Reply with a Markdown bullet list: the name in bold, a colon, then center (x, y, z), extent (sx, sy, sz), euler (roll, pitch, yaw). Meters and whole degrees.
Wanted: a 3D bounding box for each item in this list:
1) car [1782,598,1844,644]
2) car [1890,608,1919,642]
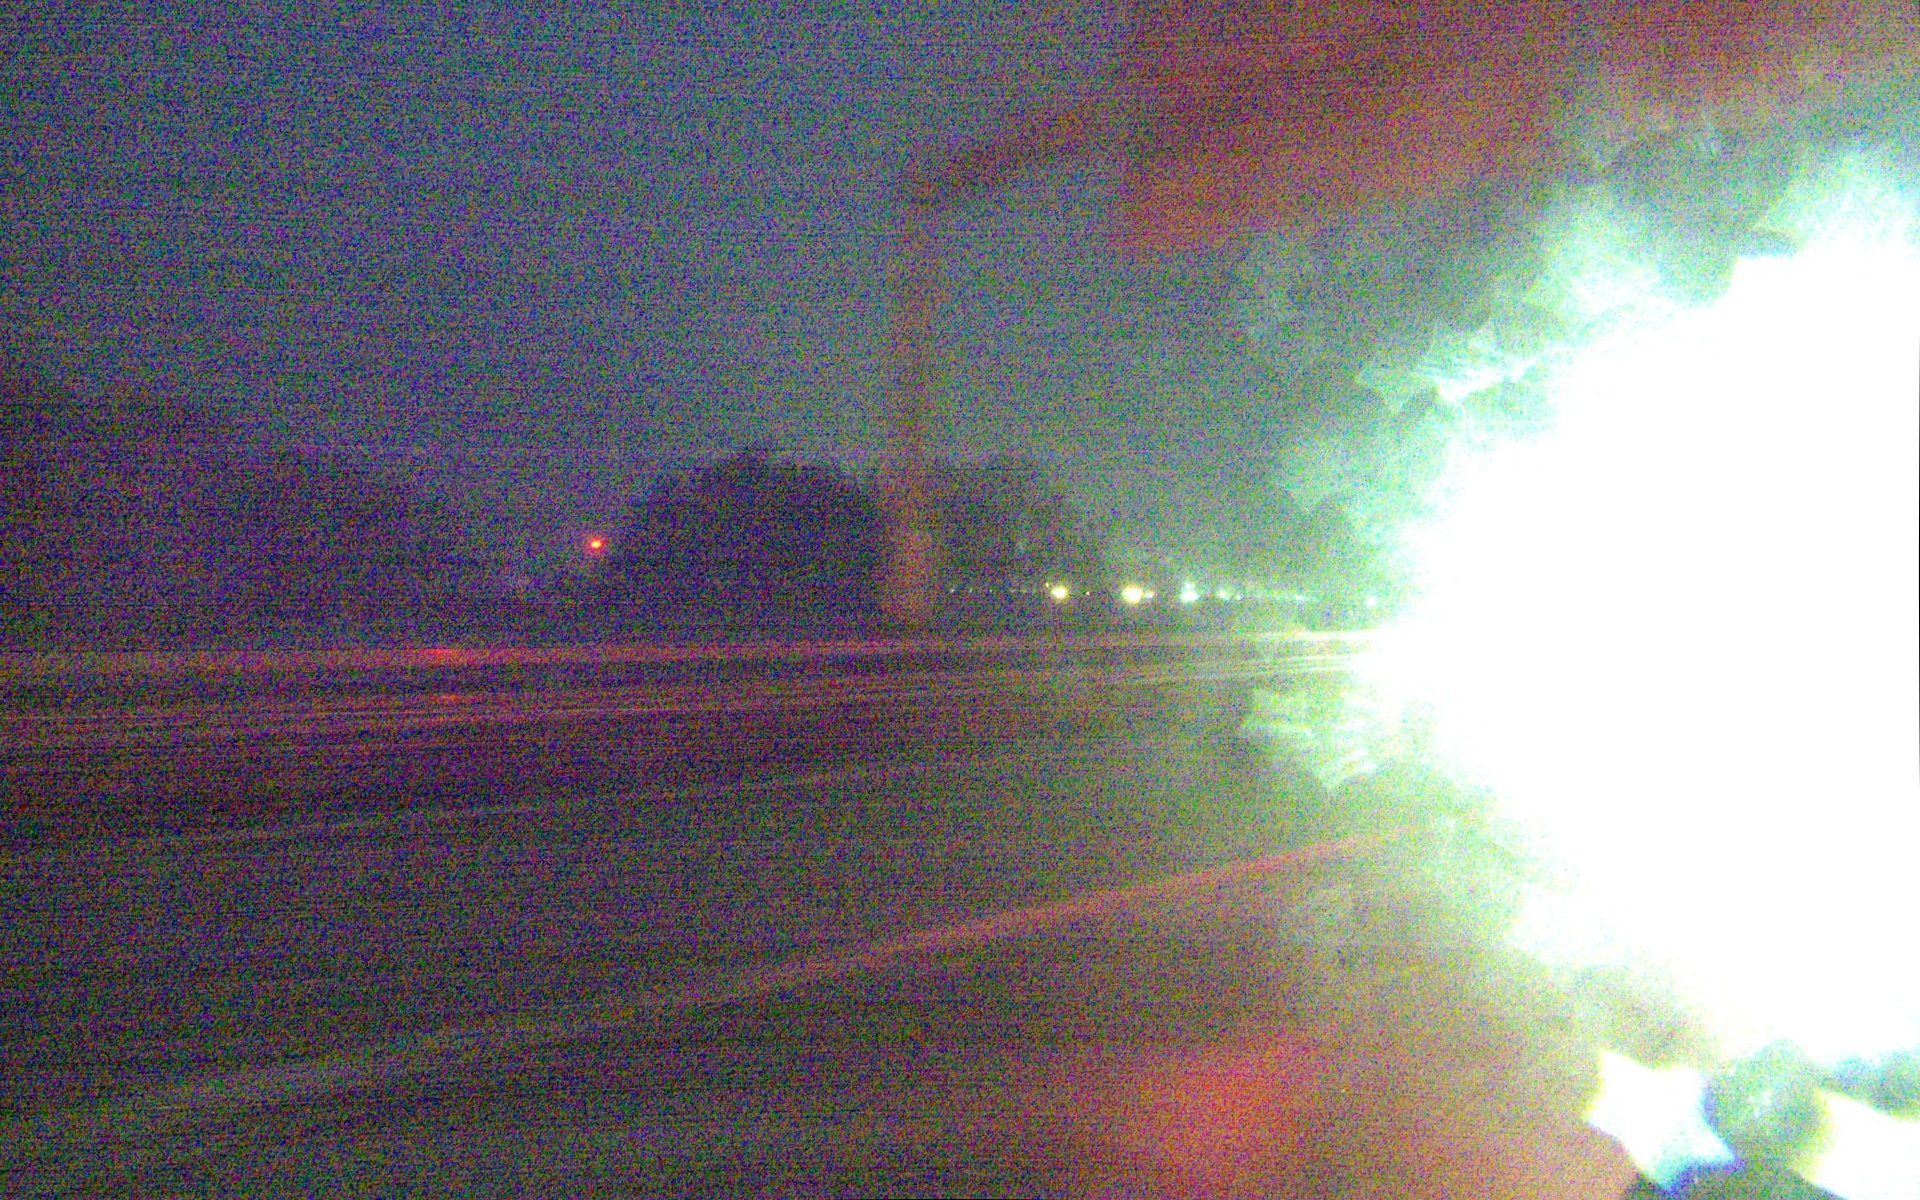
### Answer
- **car**: center (33.251, 0.823, 39.511), extent (1.733, 1.705, 4.061), euler (-1, -2, 39)
- **car**: center (39.688, 1.044, 41.685), extent (1.753, 1.328, 4.027), euler (1, 0, 39)
